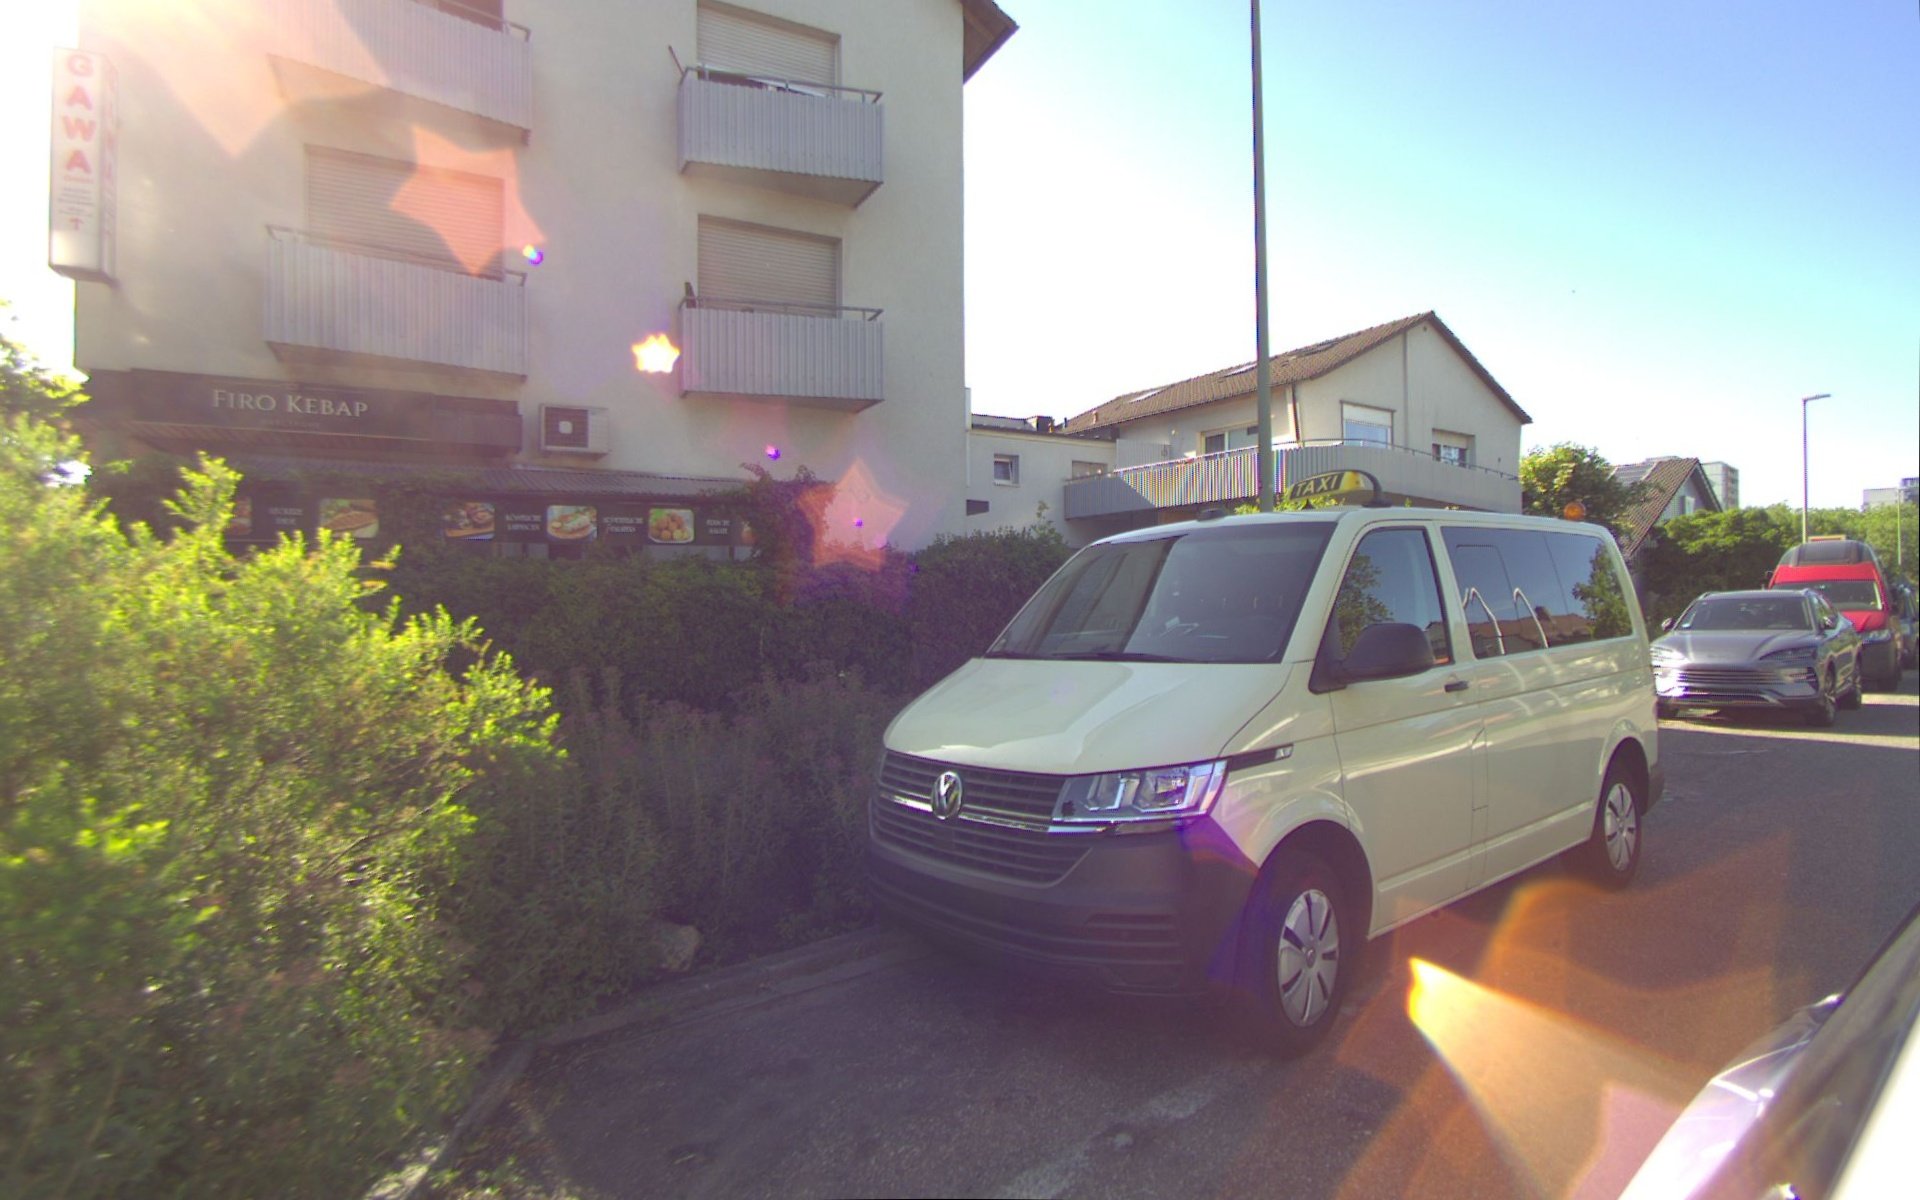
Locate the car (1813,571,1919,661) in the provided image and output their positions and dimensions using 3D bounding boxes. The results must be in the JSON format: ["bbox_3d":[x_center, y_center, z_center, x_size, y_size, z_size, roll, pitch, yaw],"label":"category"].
[{"bbox_3d":[20.937,0.360,22.942,4.483,1.872,1.858,0,-3,-43],"label":"car"}]

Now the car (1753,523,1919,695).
[{"bbox_3d":[15.984,0.157,18.300,1.957,2.678,5.139,-2,-1,45],"label":"car"}]

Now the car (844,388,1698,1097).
[{"bbox_3d":[1.856,0.400,5.206,4.495,2.105,1.998,-1,0,-39],"label":"car"}]

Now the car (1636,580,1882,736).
[{"bbox_3d":[10.918,0.664,13.703,4.500,1.760,1.958,0,-1,-43],"label":"car"}]
